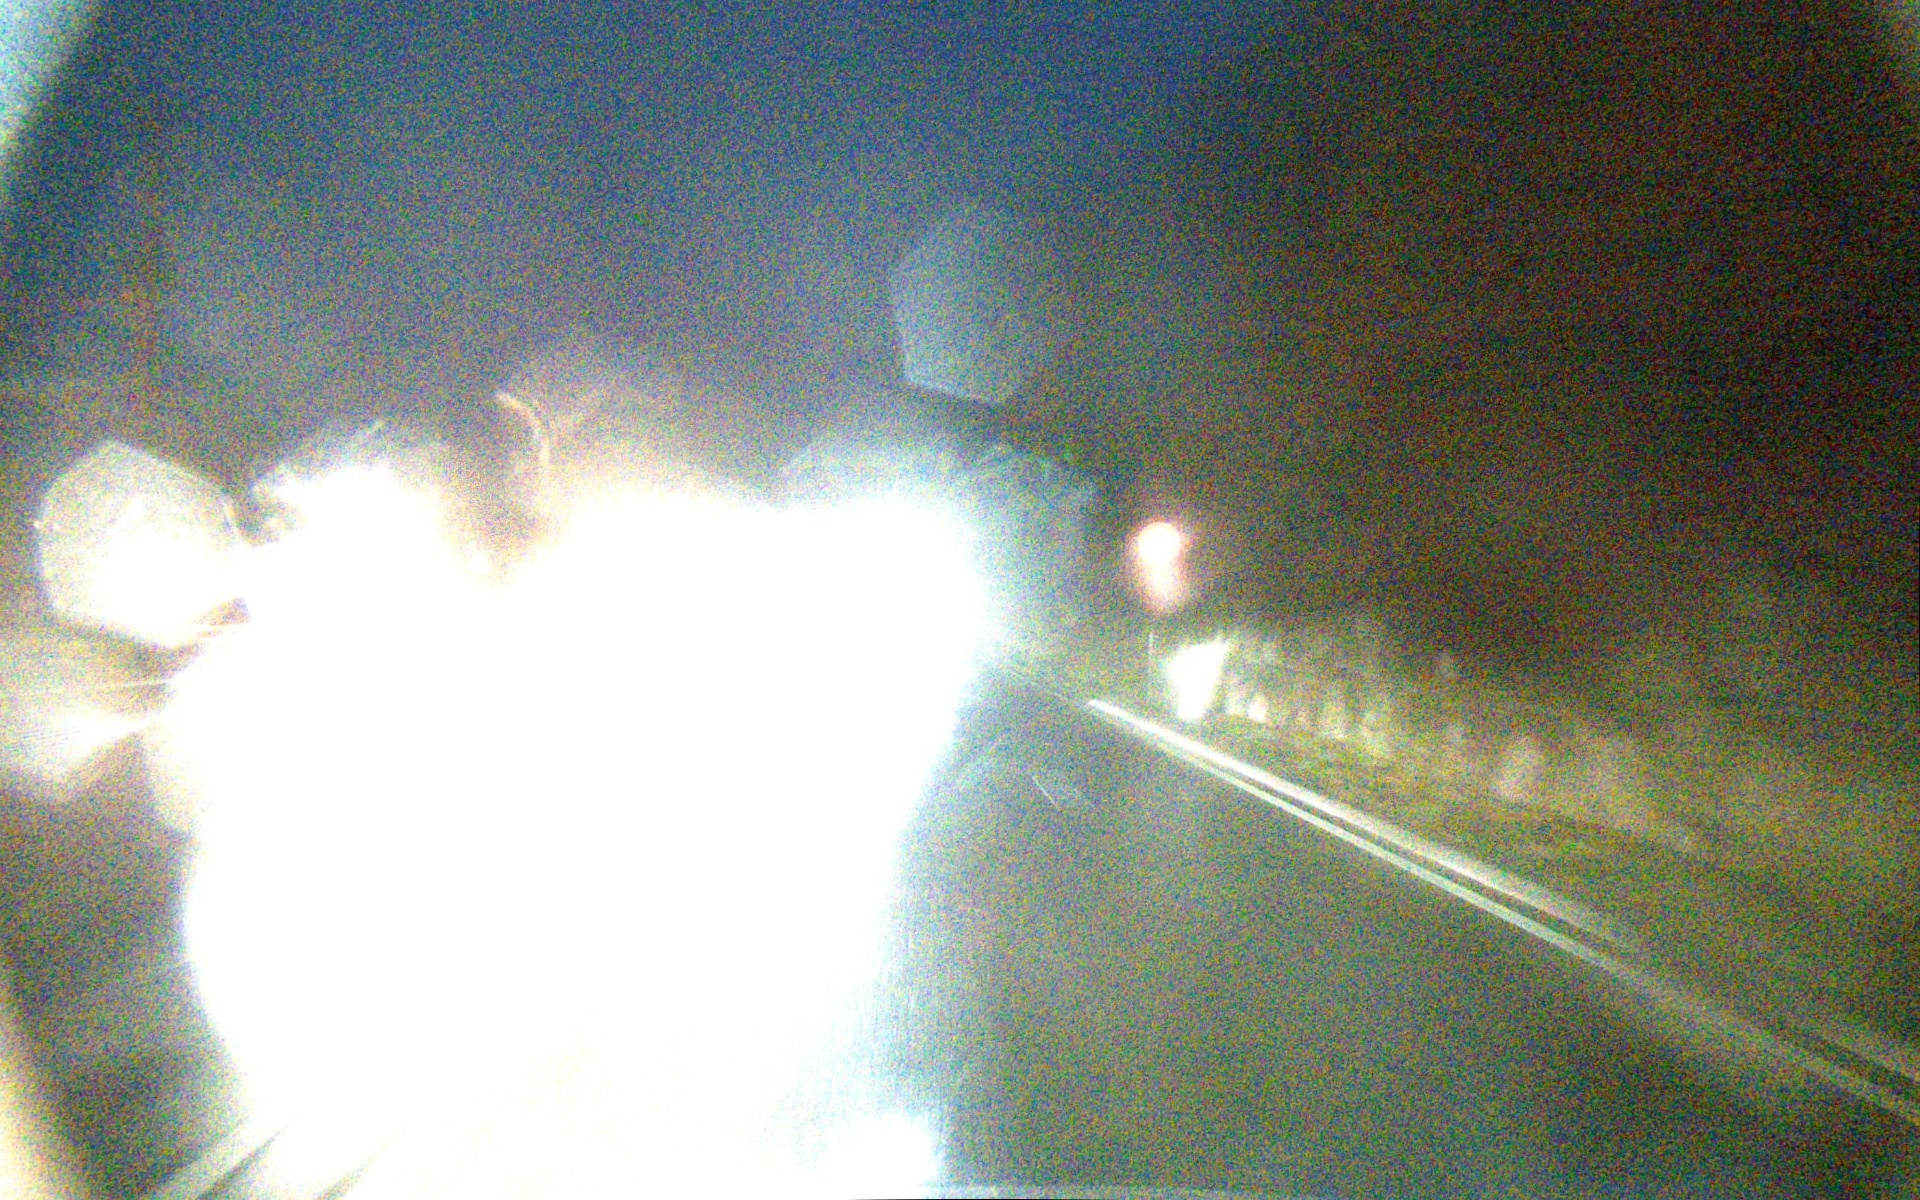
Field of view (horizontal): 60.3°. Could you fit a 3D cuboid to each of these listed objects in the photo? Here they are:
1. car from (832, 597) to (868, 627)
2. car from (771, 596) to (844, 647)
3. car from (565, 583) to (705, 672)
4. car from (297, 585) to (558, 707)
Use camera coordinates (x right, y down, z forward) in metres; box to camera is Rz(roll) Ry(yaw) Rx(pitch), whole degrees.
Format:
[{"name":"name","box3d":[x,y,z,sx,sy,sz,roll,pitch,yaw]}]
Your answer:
[{"name":"car","box3d":[-6.349,0.664,95.957,1.884,1.643,4.084,2,0,-2]},{"name":"car","box3d":[-5.222,0.717,57.106,2.067,1.603,4.679,2,0,0]},{"name":"car","box3d":[-7.424,0.590,38.351,1.952,1.897,5.321,1,0,2]},{"name":"car","box3d":[-7.640,0.603,24.321,2.040,1.569,4.900,1,0,2]}]
